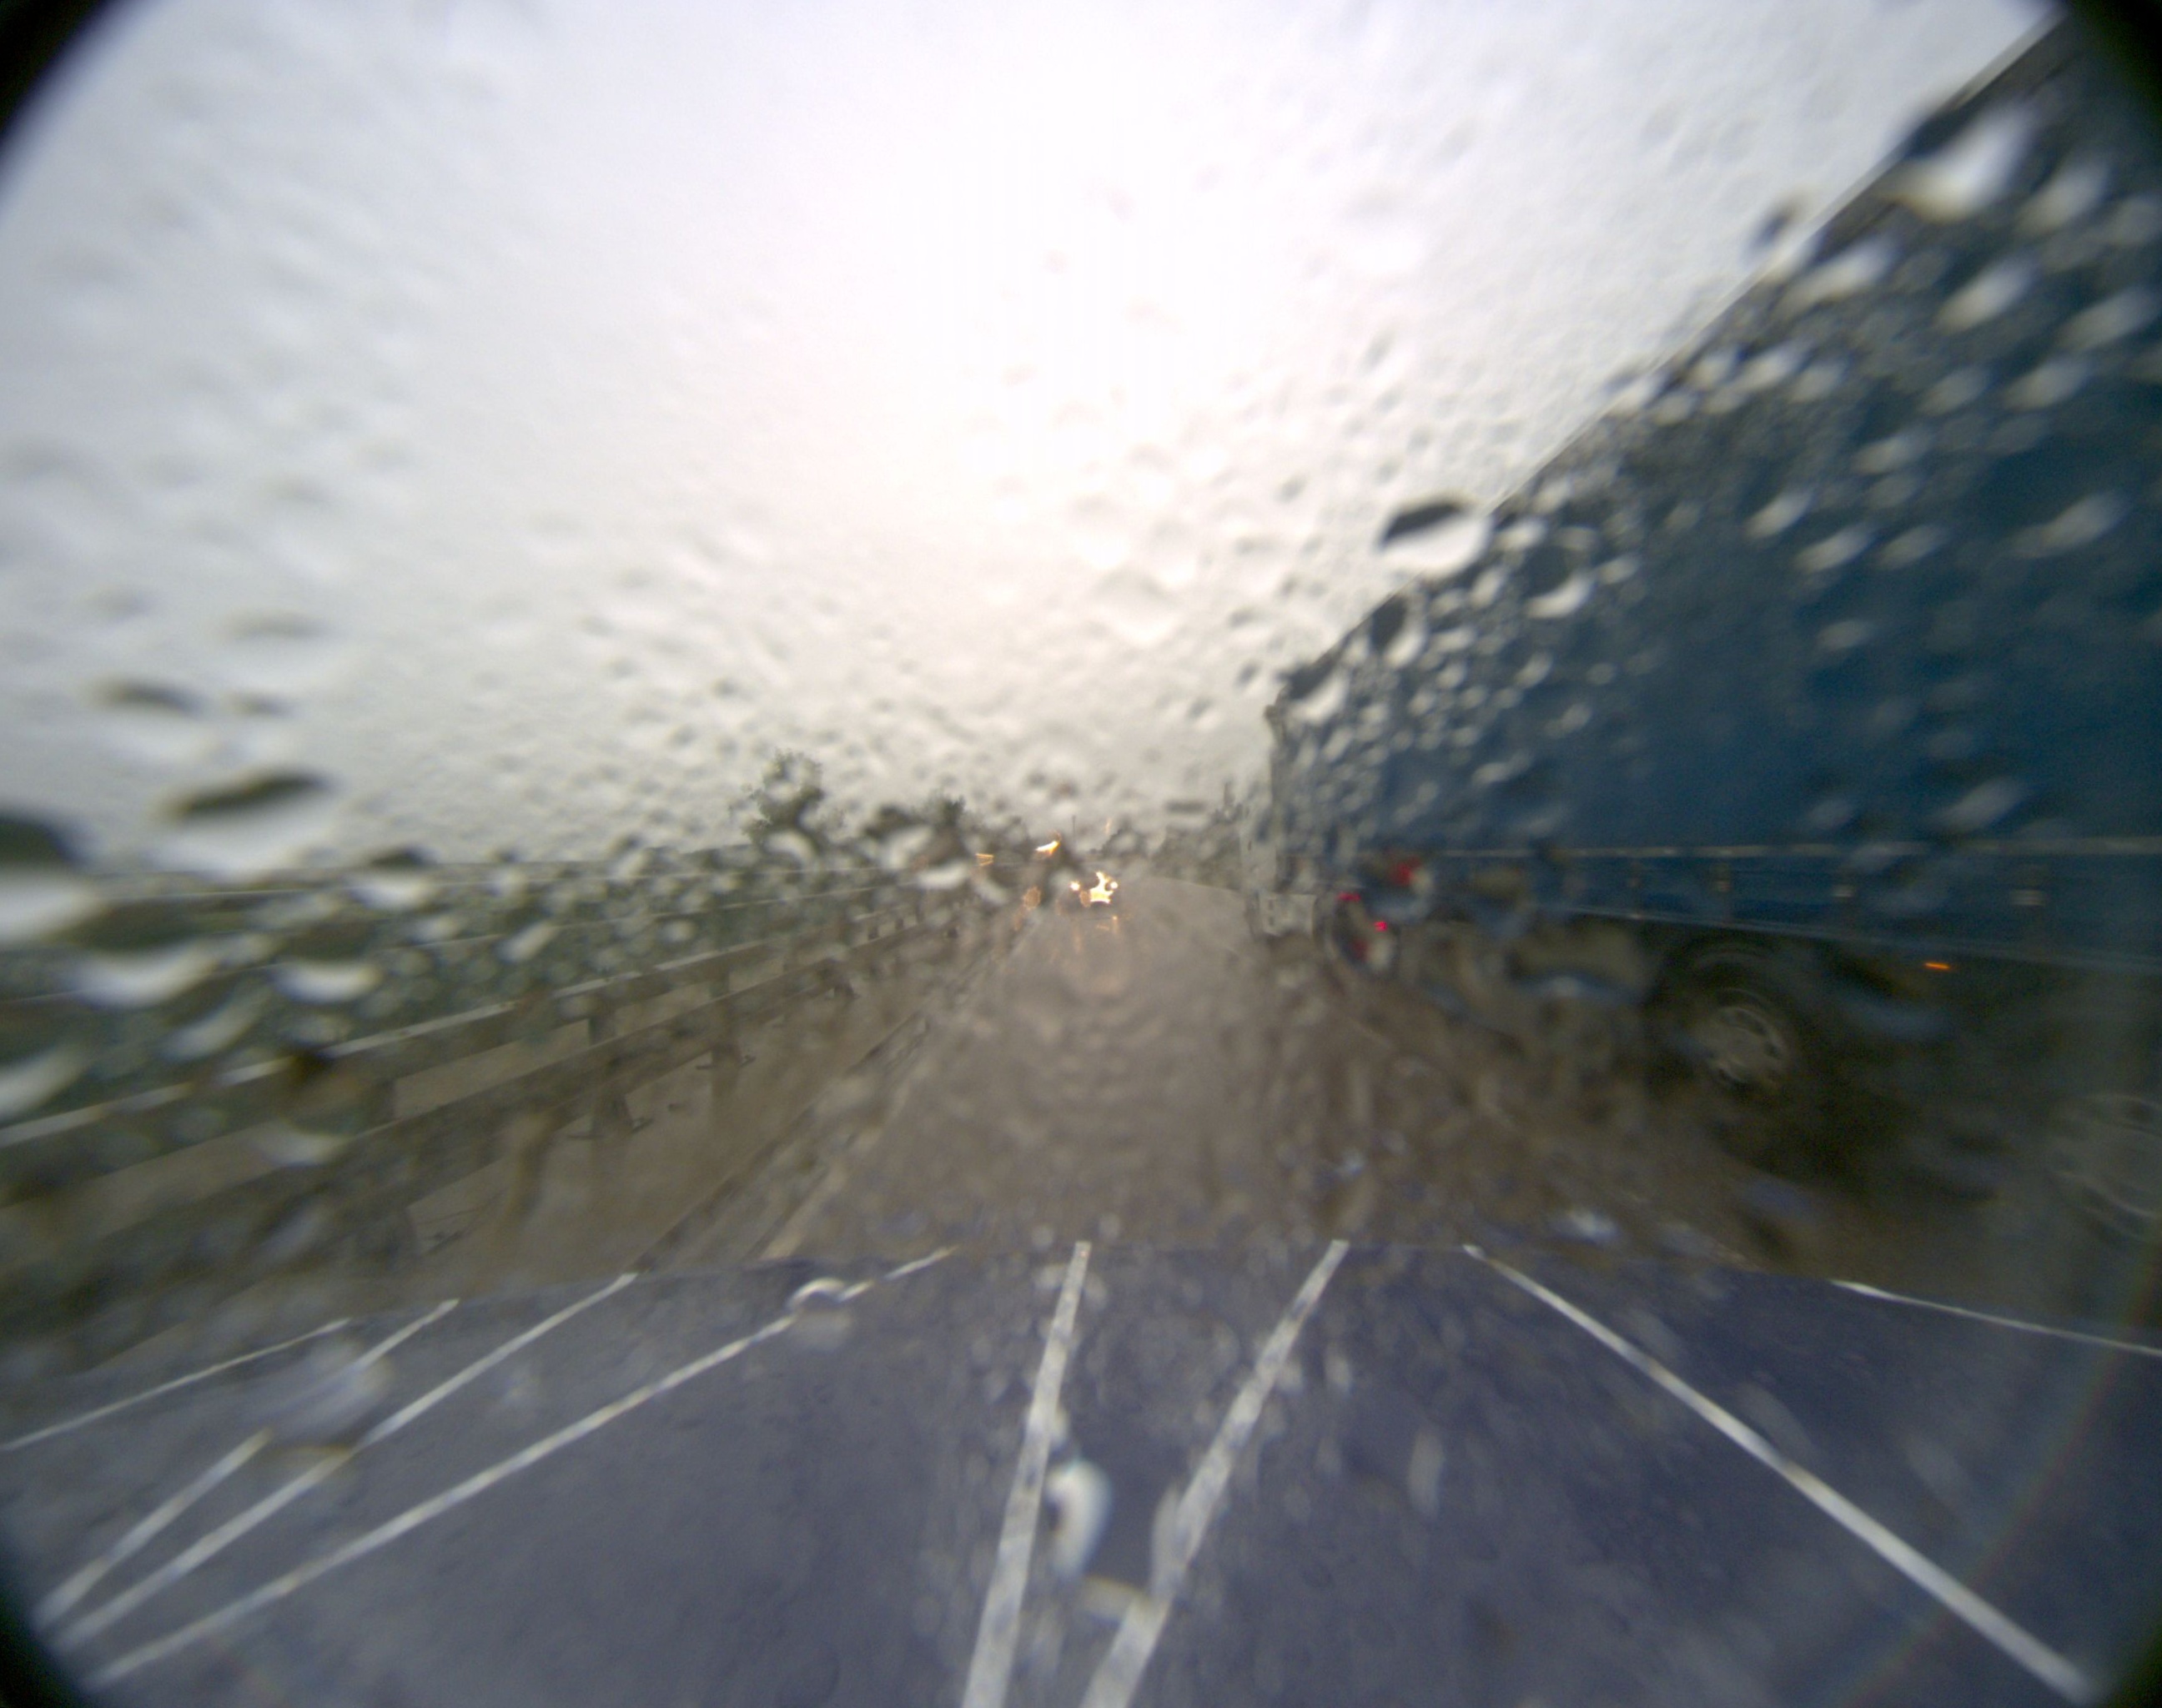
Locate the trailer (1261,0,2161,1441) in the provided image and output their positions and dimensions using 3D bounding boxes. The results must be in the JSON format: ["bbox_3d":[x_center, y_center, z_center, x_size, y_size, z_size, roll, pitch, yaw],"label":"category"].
[{"bbox_3d":[4.116,-0.534,4.458,2.825,3.947,13.734,-2,0,0],"label":"trailer"}]

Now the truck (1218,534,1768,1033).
[{"bbox_3d":[4.136,-0.584,10.528,2.825,3.947,8.762,-2,0,0],"label":"truck"}]

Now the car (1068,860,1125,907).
[{"bbox_3d":[0.533,0.974,26.844,1.819,1.382,4.068,-3,1,1],"label":"car"}]
